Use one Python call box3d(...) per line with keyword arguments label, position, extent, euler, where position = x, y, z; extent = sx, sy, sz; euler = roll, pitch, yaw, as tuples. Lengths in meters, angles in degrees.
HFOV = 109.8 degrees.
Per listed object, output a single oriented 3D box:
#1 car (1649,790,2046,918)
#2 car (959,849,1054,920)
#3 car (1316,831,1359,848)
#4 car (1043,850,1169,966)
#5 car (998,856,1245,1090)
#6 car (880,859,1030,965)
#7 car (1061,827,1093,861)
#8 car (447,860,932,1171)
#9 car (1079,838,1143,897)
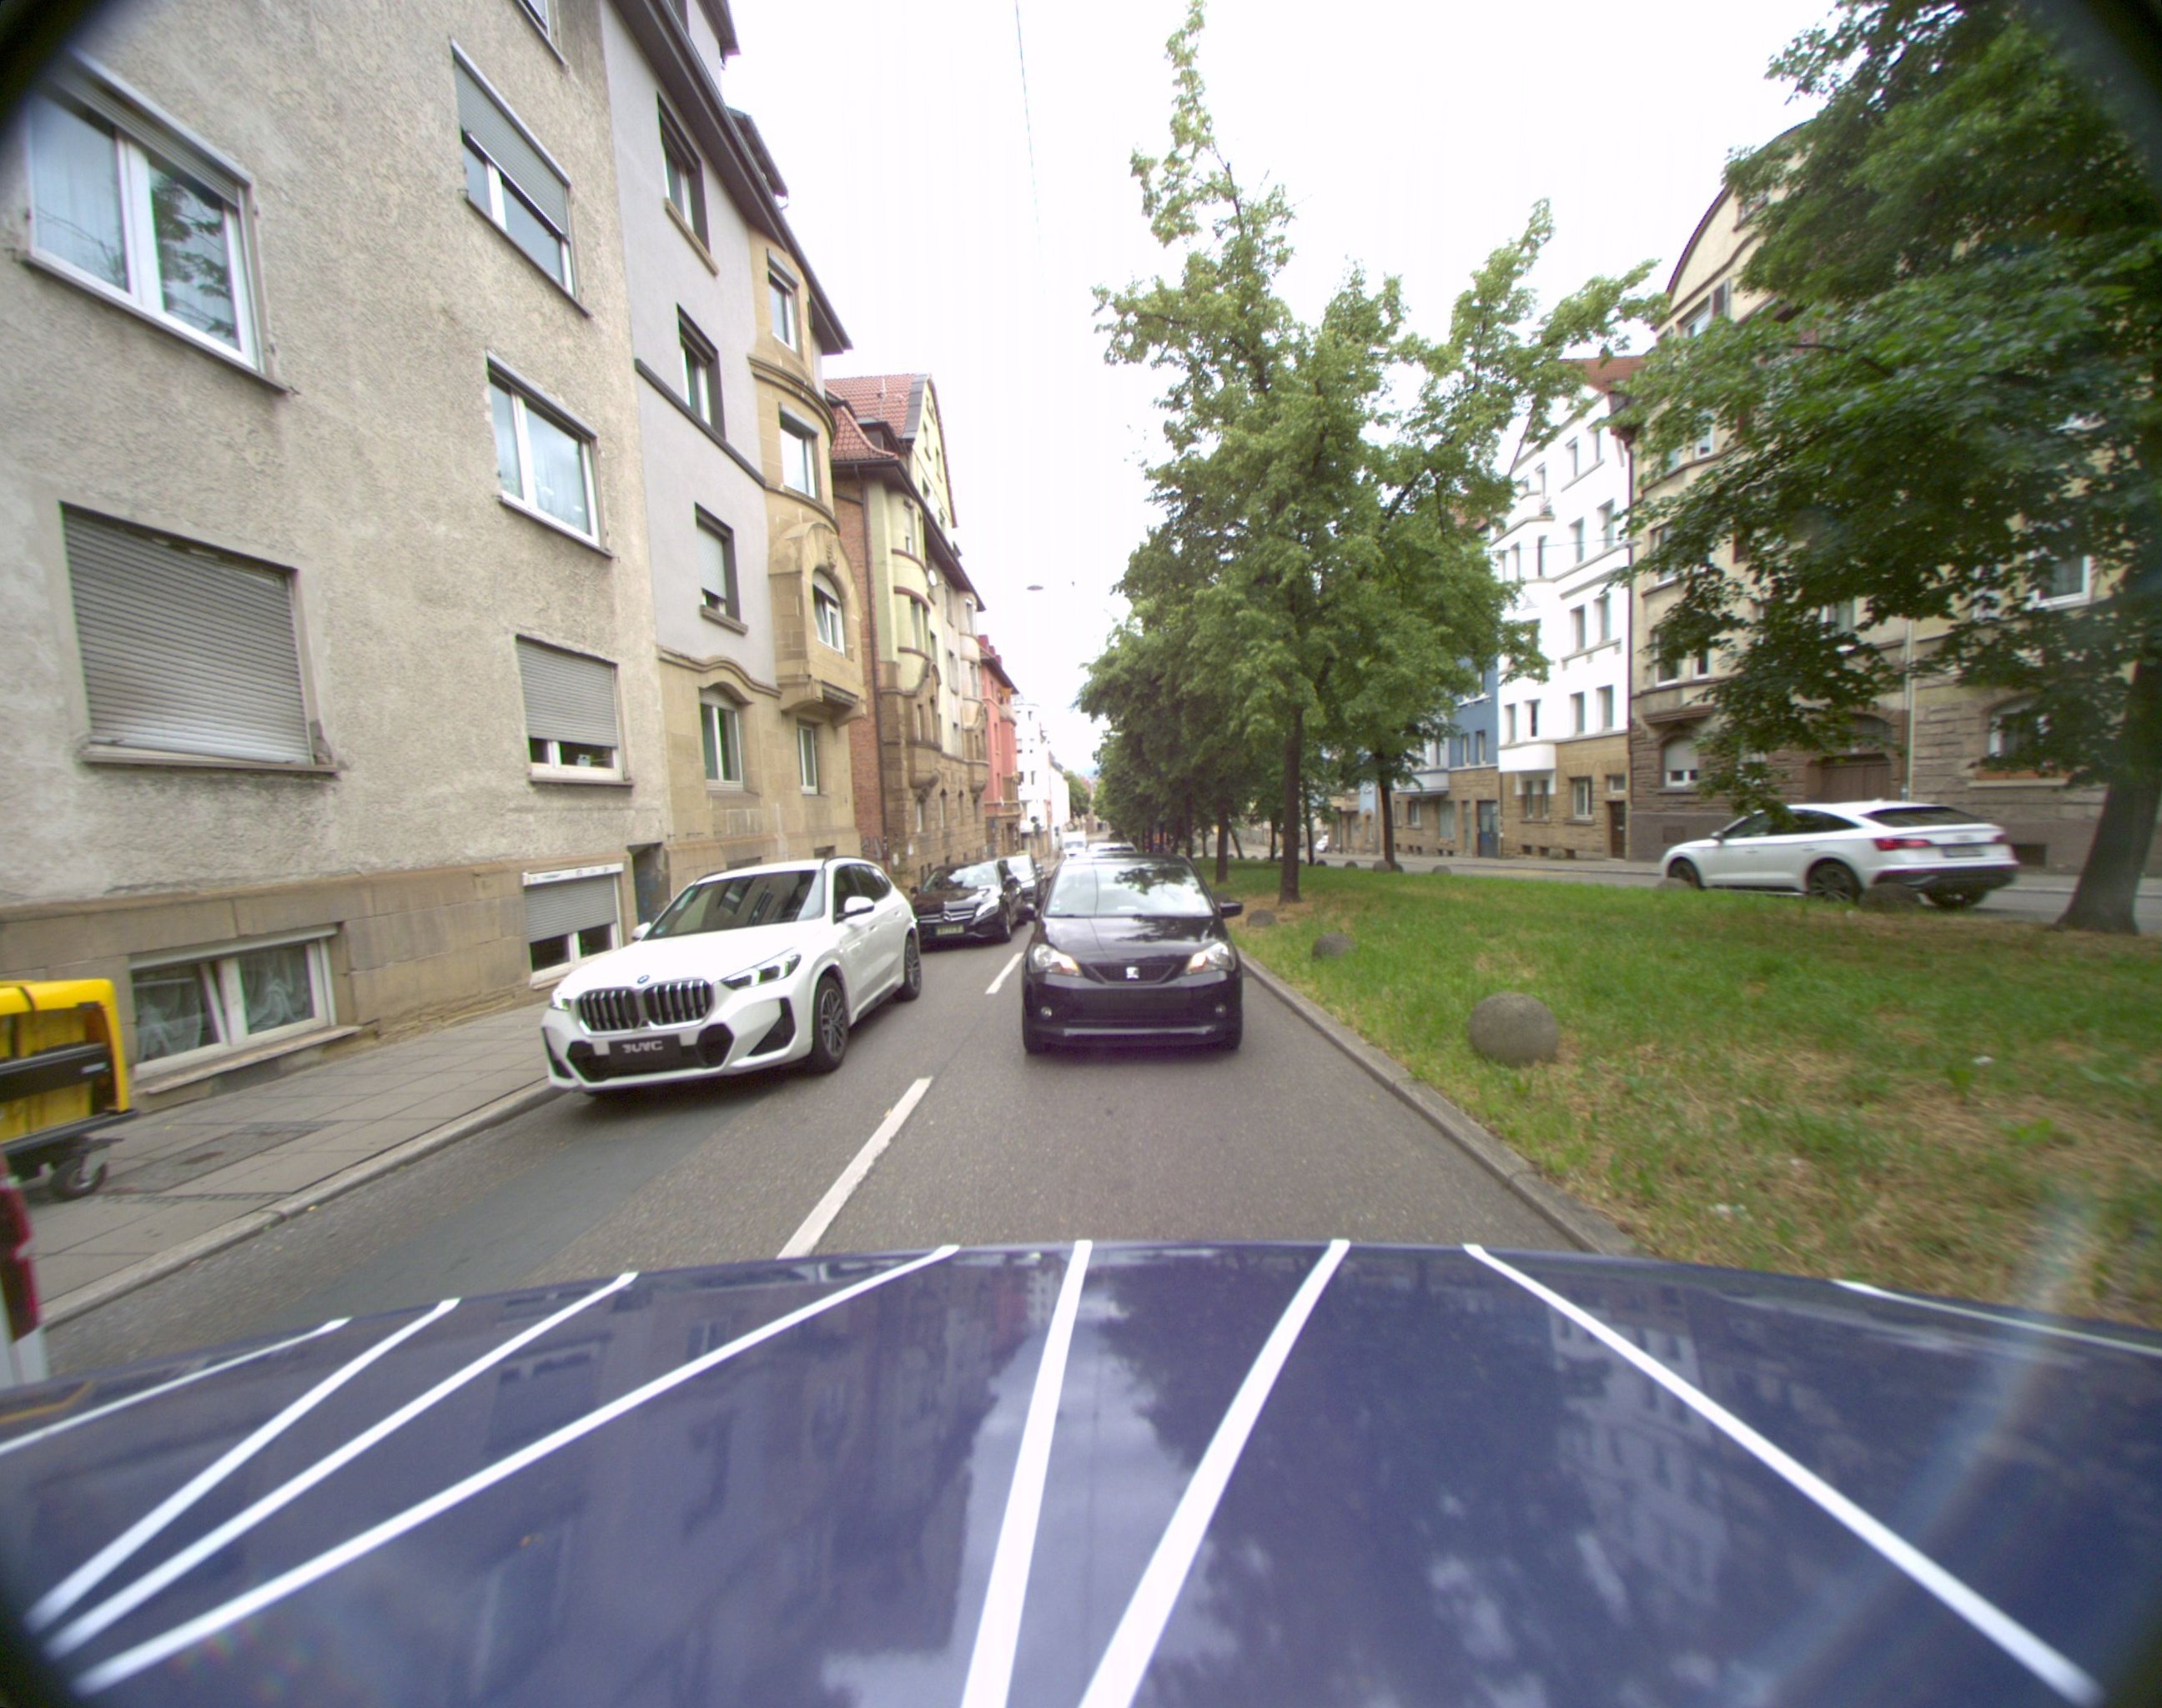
box3d(label="car", position=(11.806, 0.005, 12.287), extent=(1.899, 1.618, 4.490), euler=(-2, 0, 1))
box3d(label="car", position=(-1.927, 0.752, 21.021), extent=(1.936, 1.506, 4.302), euler=(-6, 1, 2))
box3d(label="car", position=(22.253, -1.265, 66.095), extent=(3.291, 1.323, 1.672), euler=(-2, 1, 10))
box3d(label="car", position=(0.372, 0.735, 12.162), extent=(1.664, 1.457, 3.580), euler=(-2, 1, 1))
box3d(label="car", position=(0.293, 0.790, 6.649), extent=(1.611, 1.457, 3.296), euler=(-1, 1, 1))
box3d(label="car", position=(-2.120, 0.925, 14.052), extent=(1.884, 1.370, 4.205), euler=(-6, 1, 1))
box3d(label="car", position=(-0.288, -0.919, 70.029), extent=(2.716, 2.879, 6.452), euler=(-2, 1, 1))
box3d(label="car", position=(-2.774, 0.995, 6.746), extent=(1.859, 1.547, 4.350), euler=(-7, 1, 0))
box3d(label="car", position=(0.805, 0.310, 21.677), extent=(1.607, 1.492, 3.737), euler=(-2, 1, 1))
